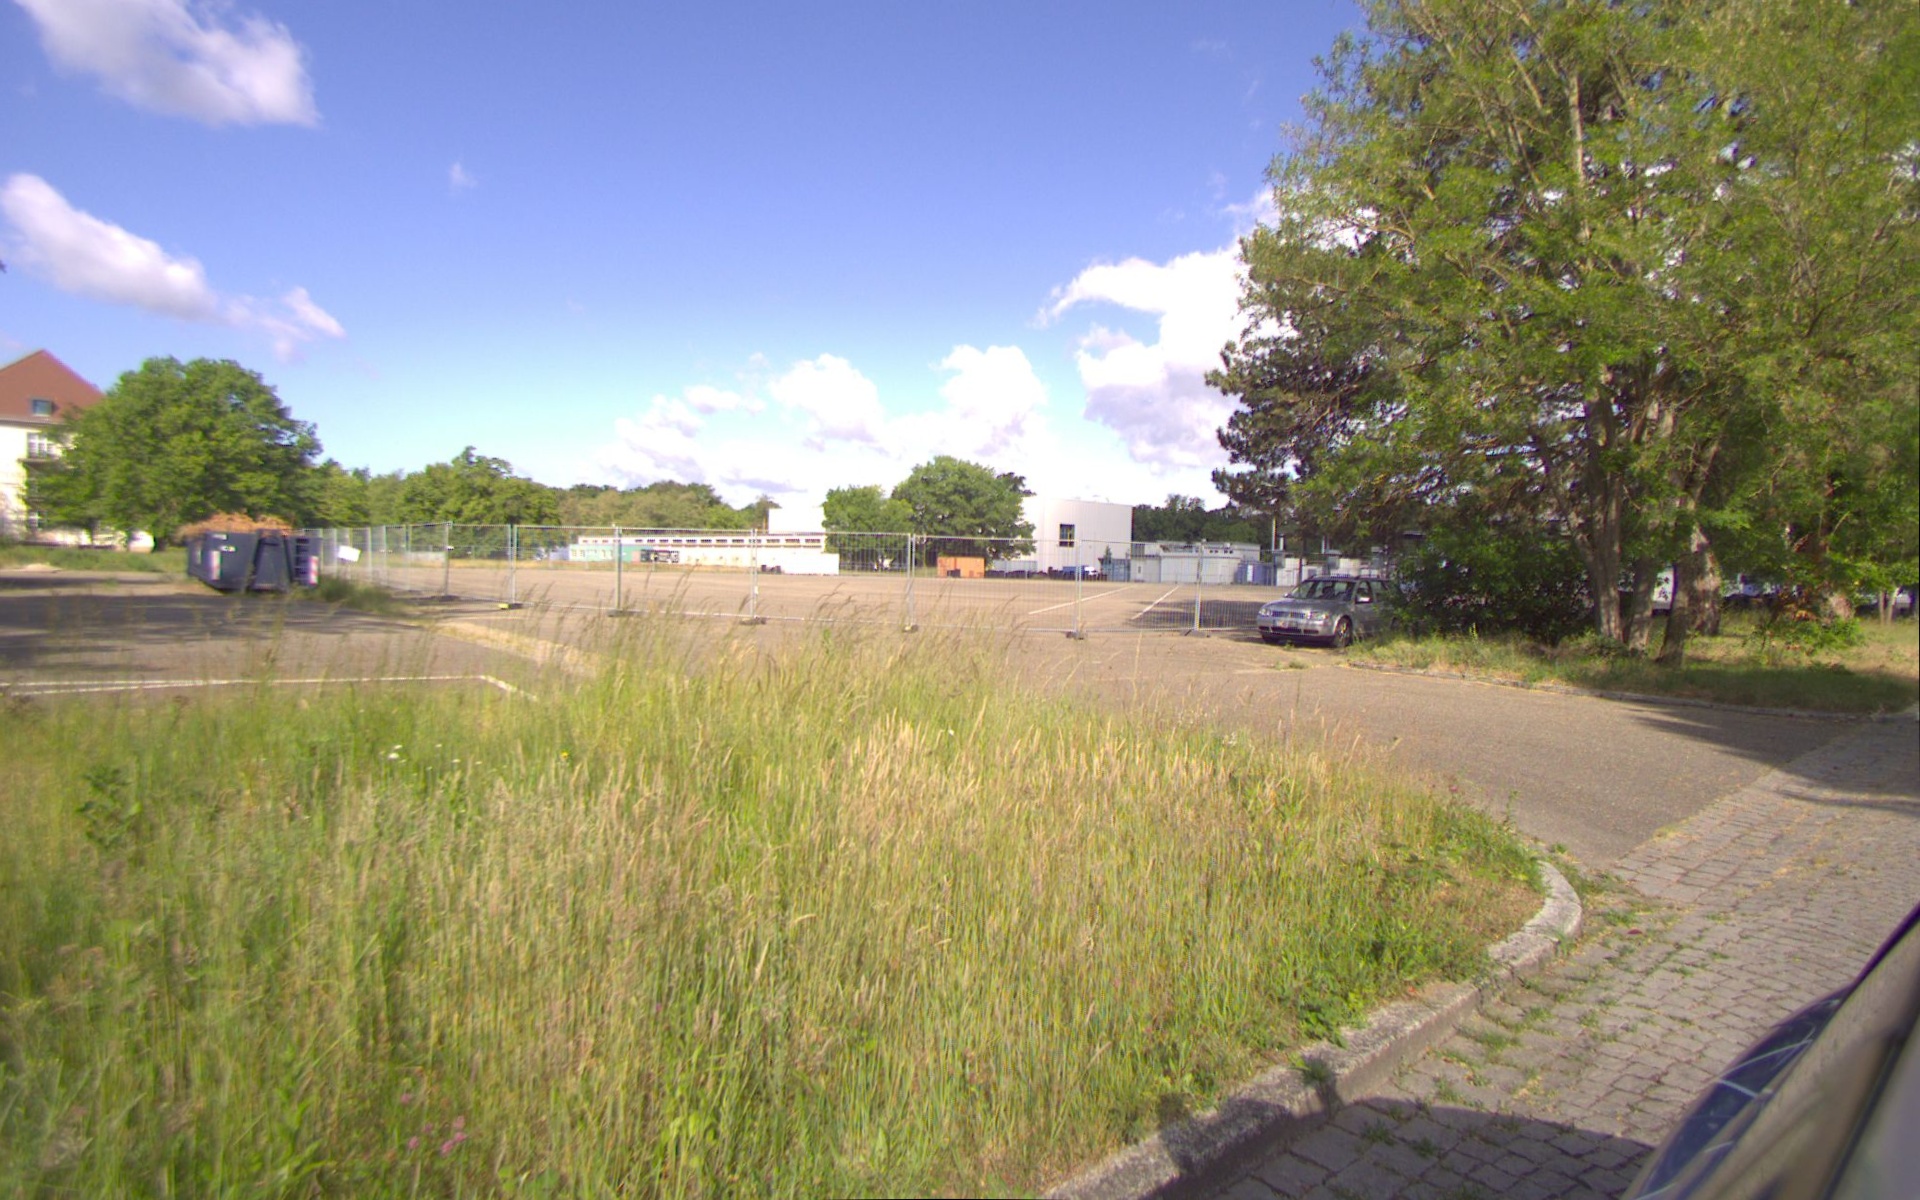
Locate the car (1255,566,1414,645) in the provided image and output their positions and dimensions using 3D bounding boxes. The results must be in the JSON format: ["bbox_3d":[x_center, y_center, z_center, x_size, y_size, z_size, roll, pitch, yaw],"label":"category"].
[{"bbox_3d":[7.910,0.076,21.220,3.921,1.461,1.576,0,3,-44],"label":"car"}]
